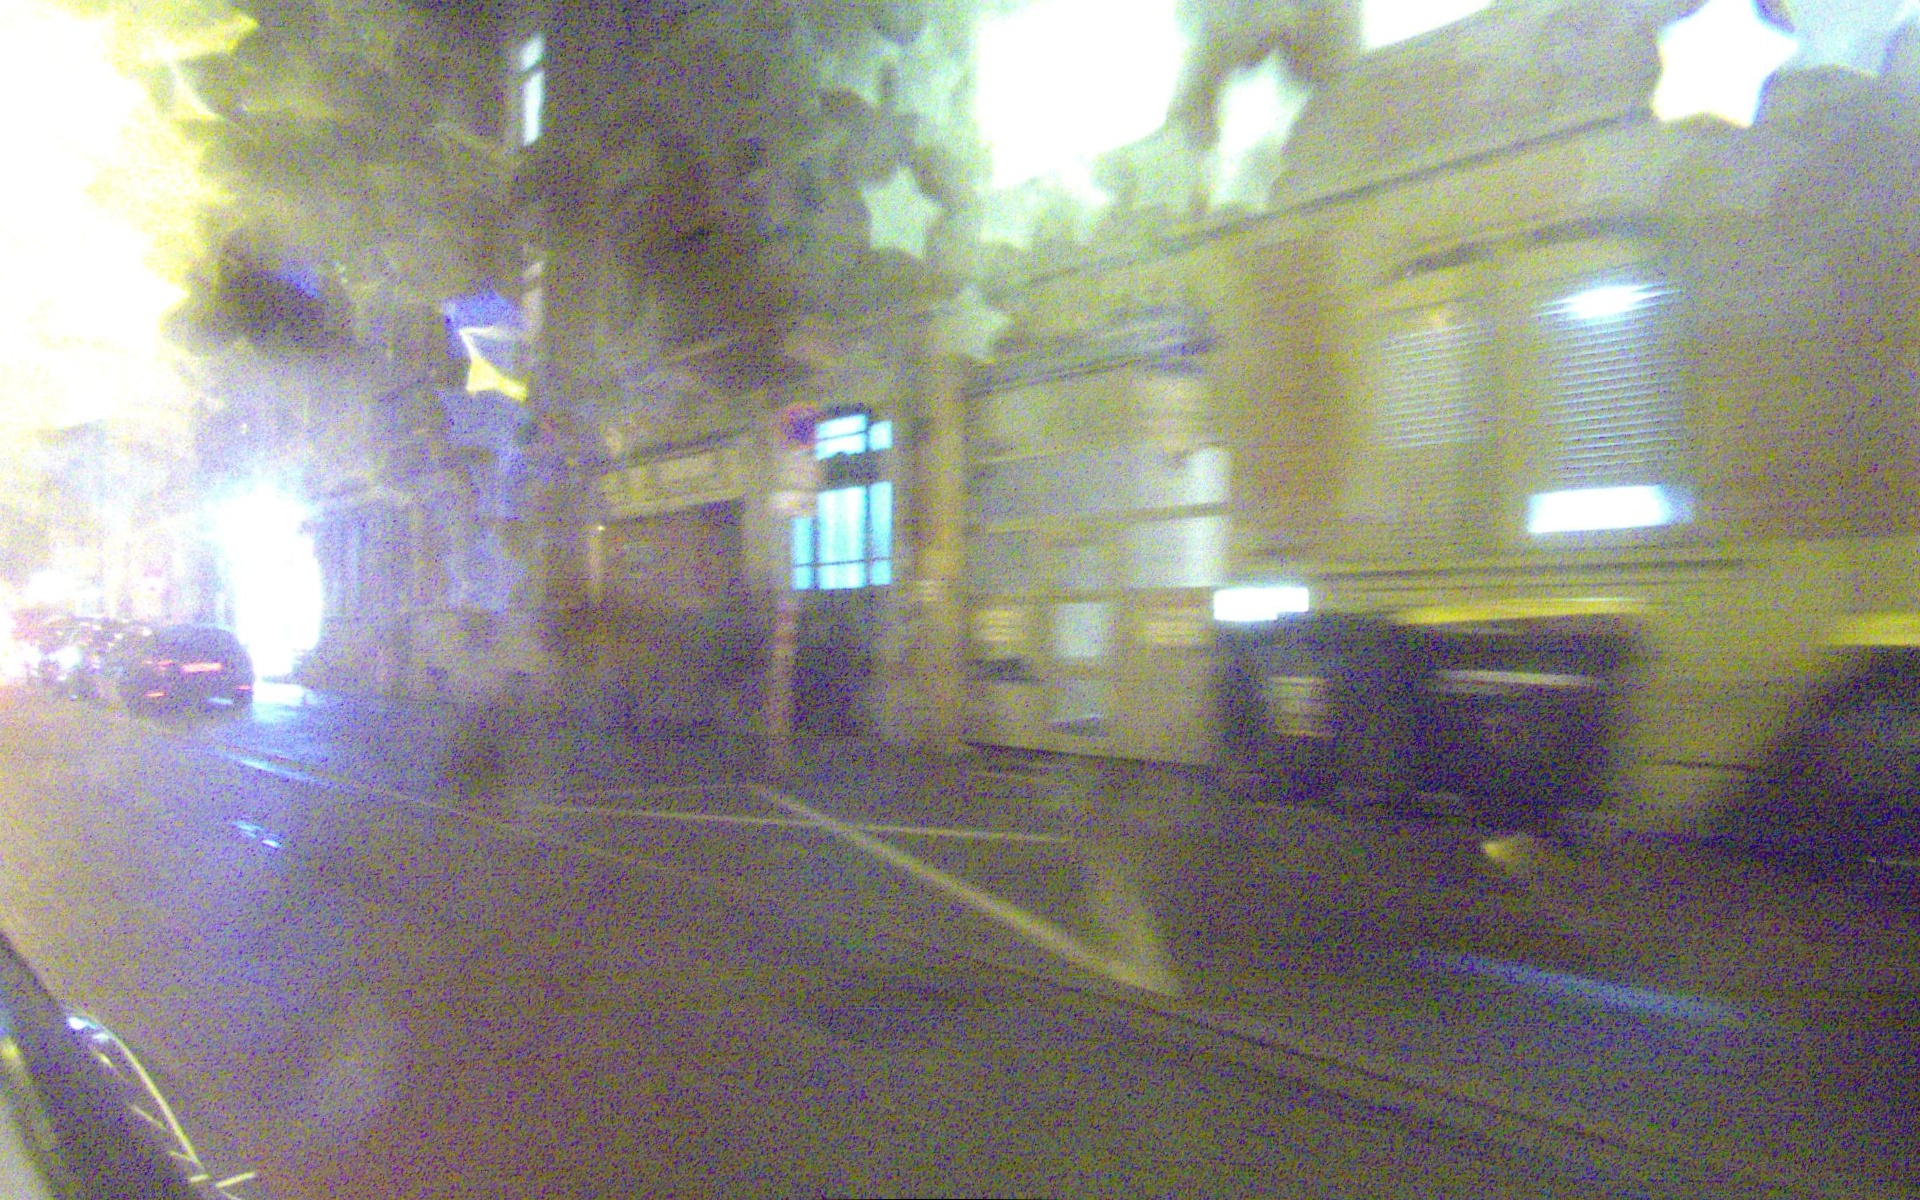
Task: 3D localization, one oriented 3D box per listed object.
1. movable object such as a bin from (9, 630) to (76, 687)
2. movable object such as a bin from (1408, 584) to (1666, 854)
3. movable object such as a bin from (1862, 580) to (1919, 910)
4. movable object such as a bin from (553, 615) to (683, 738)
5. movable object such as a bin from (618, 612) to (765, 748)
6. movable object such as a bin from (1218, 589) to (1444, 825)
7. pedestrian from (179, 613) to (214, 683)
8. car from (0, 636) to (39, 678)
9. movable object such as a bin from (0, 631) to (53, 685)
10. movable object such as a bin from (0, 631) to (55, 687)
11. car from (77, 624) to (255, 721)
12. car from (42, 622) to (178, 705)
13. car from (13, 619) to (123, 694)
[{"bbox_3d":[-25.258,1.588,27.863,1.151,1.470,1.248,-2,0,43],"label":"movable object such as a bin"},{"bbox_3d":[3.503,0.643,6.153,1.133,1.430,0.964,-2,0,44],"label":"movable object such as a bin"},{"bbox_3d":[4.748,0.610,4.434,1.133,1.409,0.964,-2,0,44],"label":"movable object such as a bin"},{"bbox_3d":[-4.359,0.930,12.891,1.154,1.430,1.128,-2,0,44],"label":"movable object such as a bin"},{"bbox_3d":[-3.121,0.881,11.771,1.248,1.430,1.128,-2,0,44],"label":"movable object such as a bin"},{"bbox_3d":[2.541,0.663,6.948,1.133,1.430,0.964,-2,0,44],"label":"movable object such as a bin"},{"bbox_3d":[-19.935,1.240,26.428,0.549,1.794,0.632,-2,-2,41],"label":"pedestrian"},{"bbox_3d":[-32.841,1.925,34.524,4.220,1.369,1.637,-2,-1,41],"label":"car"},{"bbox_3d":[-27.146,1.657,29.308,1.107,1.470,1.195,-2,0,43],"label":"movable object such as a bin"},{"bbox_3d":[-26.306,1.634,28.481,1.107,1.470,1.152,-2,0,43],"label":"movable object such as a bin"},{"bbox_3d":[-14.099,1.213,17.888,4.313,1.466,1.669,-2,-1,41],"label":"car"},{"bbox_3d":[-18.125,1.306,21.516,4.023,1.564,1.587,-2,-1,41],"label":"car"},{"bbox_3d":[-22.391,1.375,25.367,3.719,1.719,1.587,-2,-1,41],"label":"car"}]
